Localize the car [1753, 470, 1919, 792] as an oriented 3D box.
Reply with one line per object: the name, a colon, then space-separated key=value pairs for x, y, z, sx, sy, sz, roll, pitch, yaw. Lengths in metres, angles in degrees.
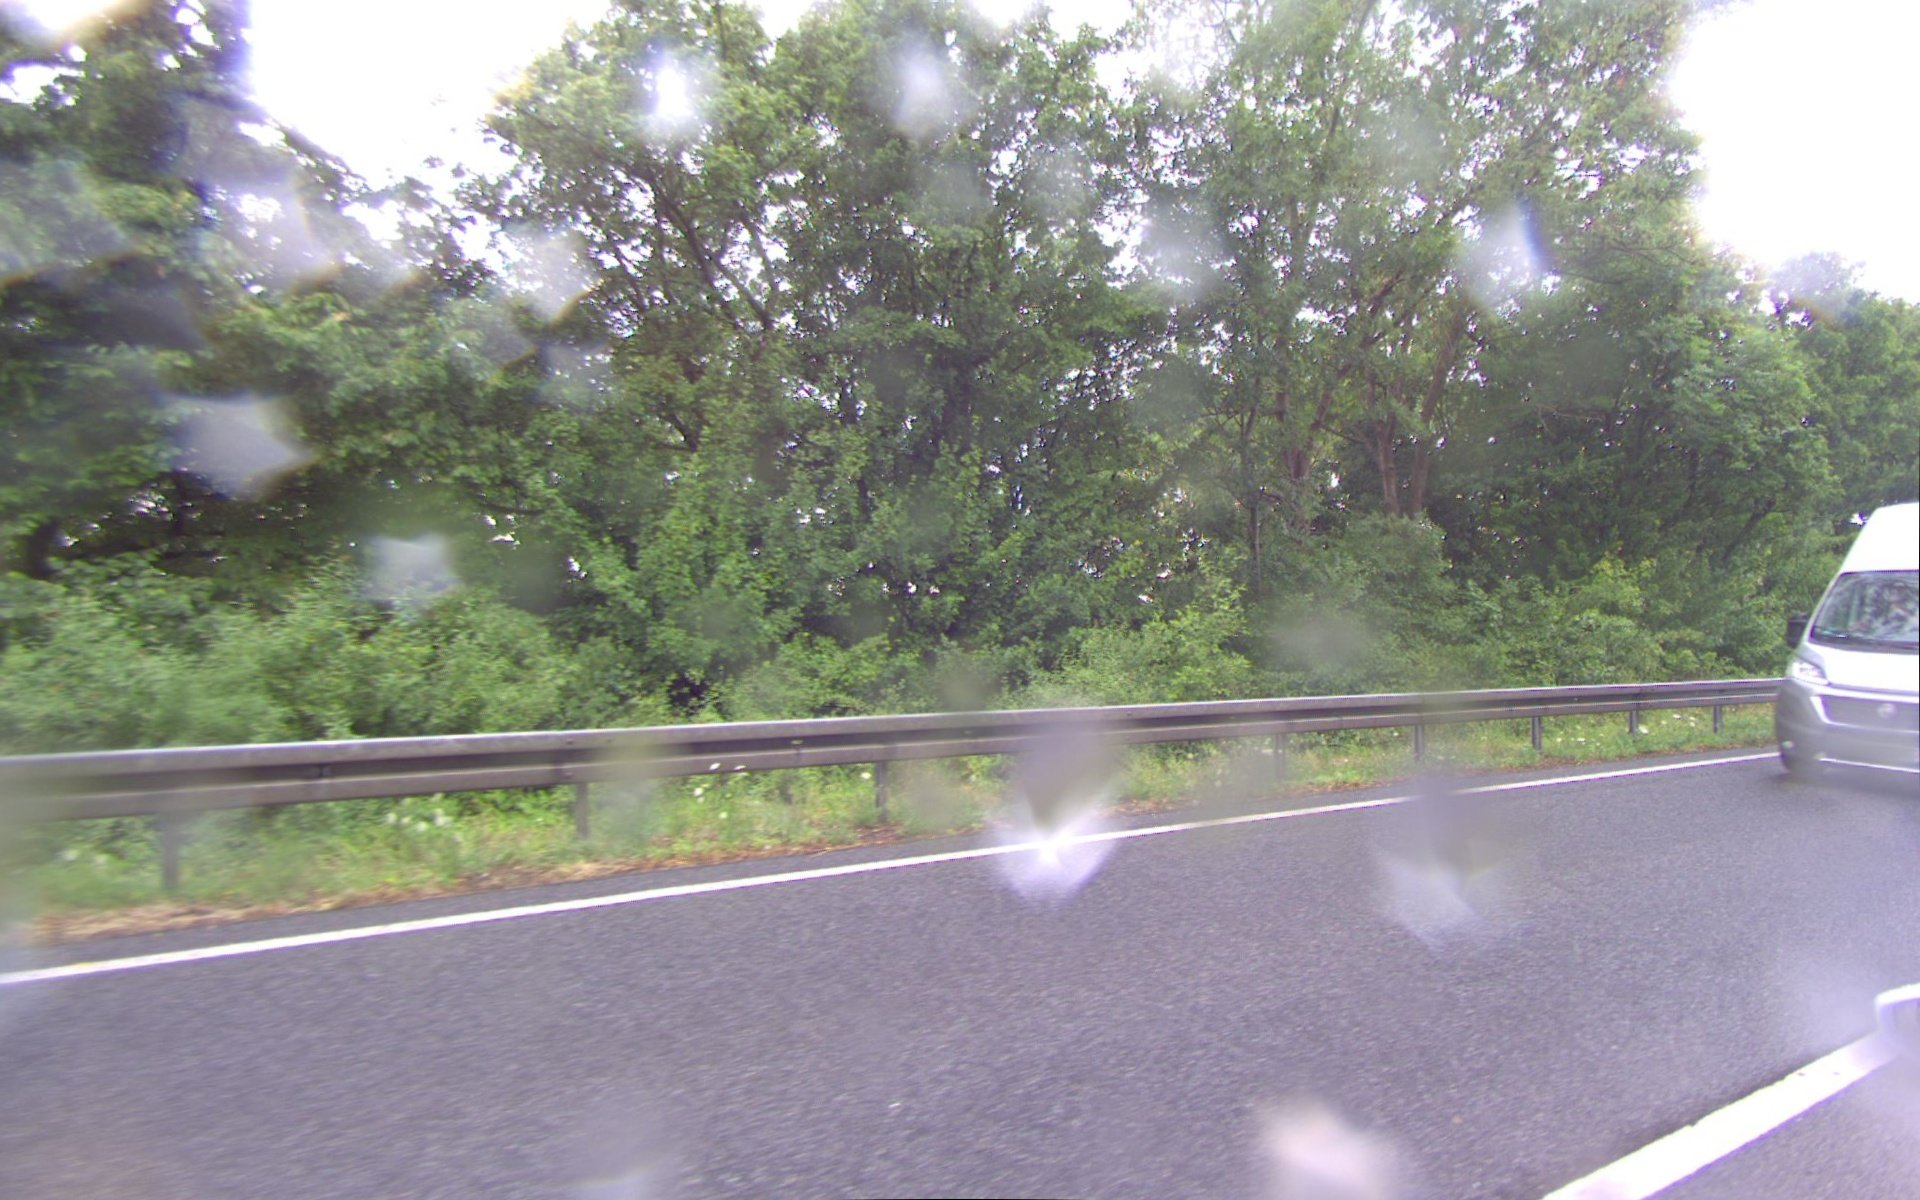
car: x=10.669 y=0.346 z=10.060 sx=6.095 sy=2.712 sz=2.039 roll=2 pitch=-1 yaw=-29
